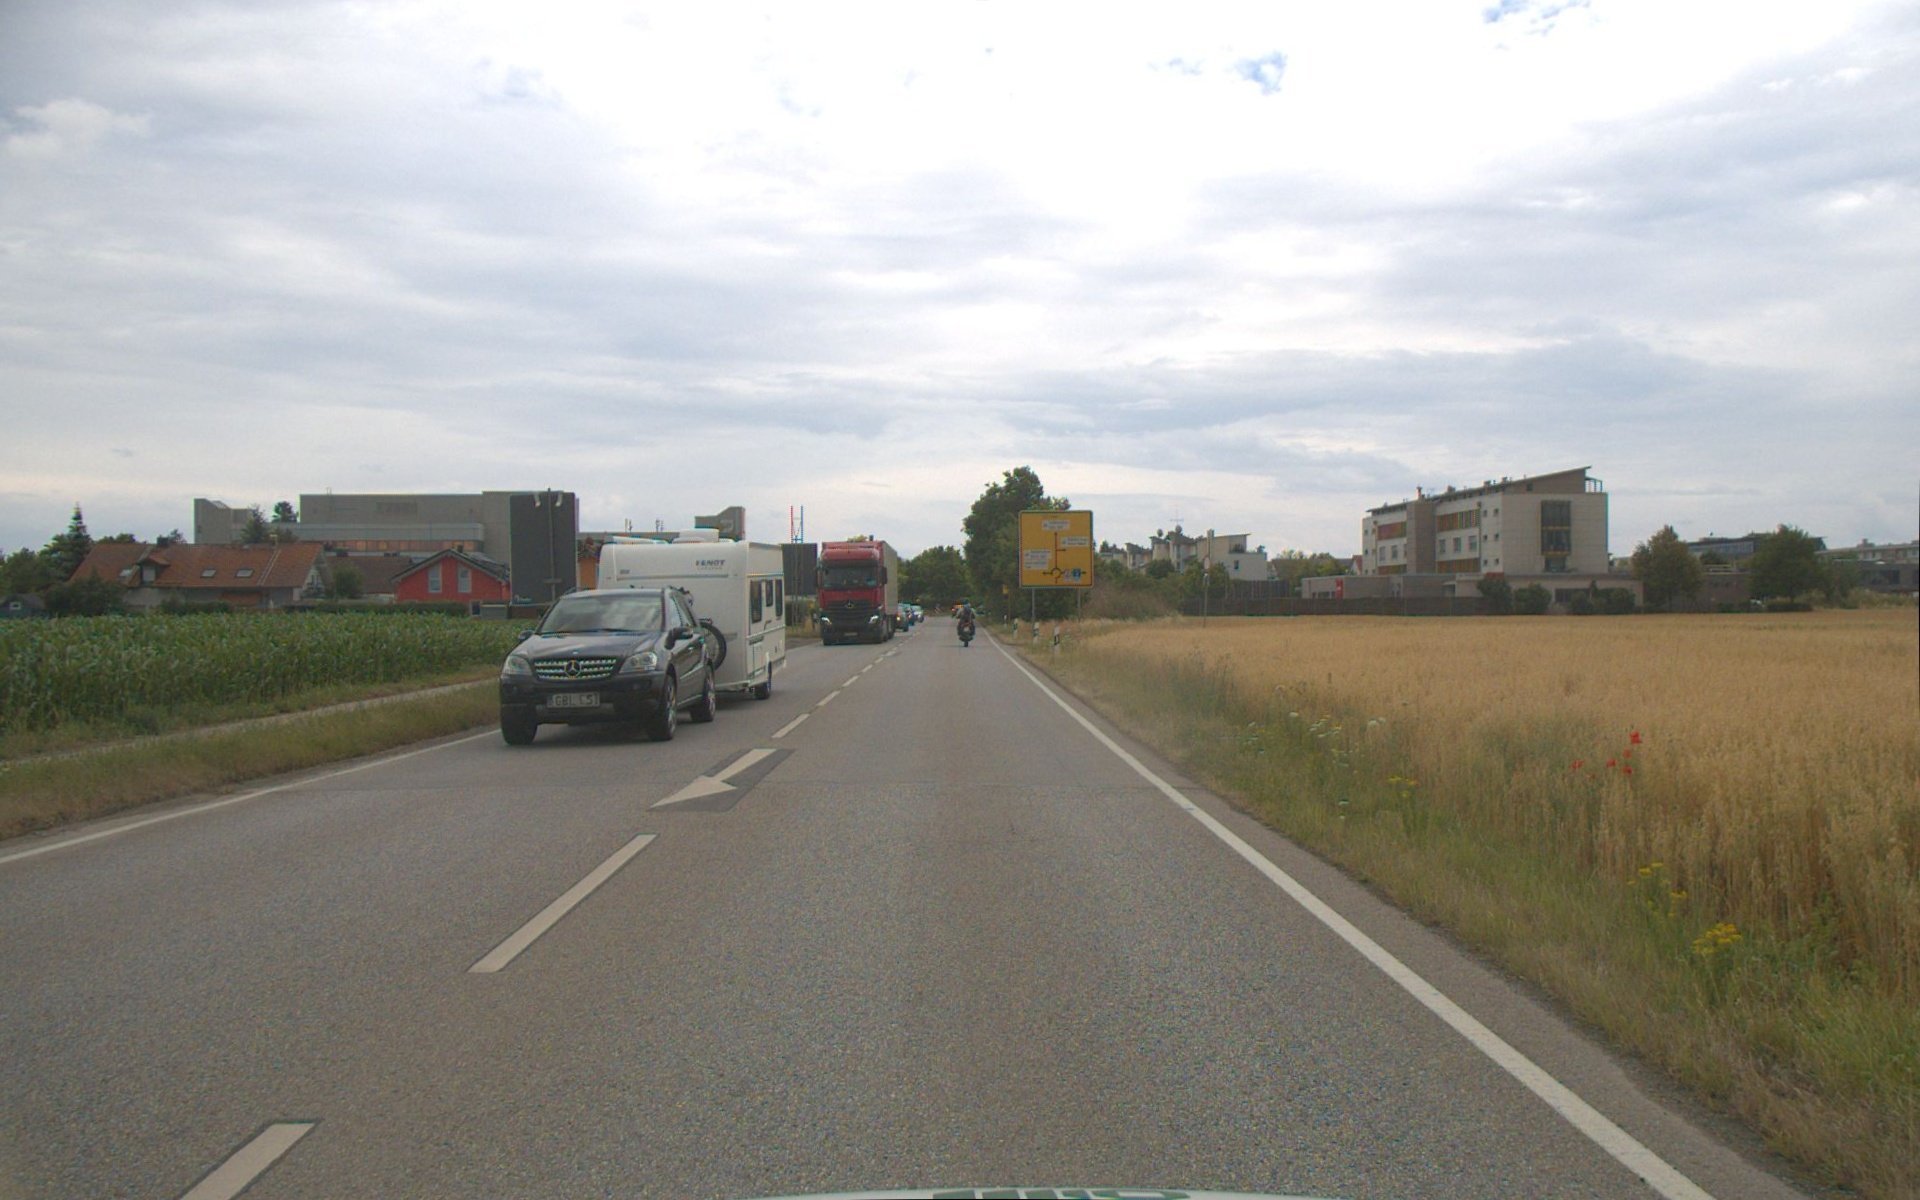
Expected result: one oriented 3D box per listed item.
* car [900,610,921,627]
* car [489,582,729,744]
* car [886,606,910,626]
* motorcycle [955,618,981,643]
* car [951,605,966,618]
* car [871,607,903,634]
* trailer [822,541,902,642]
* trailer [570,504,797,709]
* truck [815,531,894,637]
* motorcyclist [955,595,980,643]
[{"bbox_3d":[-4.419,1.677,147.421,1.817,1.498,3.998,0,-1,-2],"label":"car"},{"bbox_3d":[-4.106,0.690,20.173,1.953,1.729,4.675,-1,0,-1],"label":"car"},{"bbox_3d":[-4.685,1.190,125.675,1.817,1.498,3.998,0,-1,-2],"label":"car"},{"bbox_3d":[0.289,1.144,61.799,0.922,0.905,2.145,0,-1,0],"label":"motorcycle"},{"bbox_3d":[-0.209,1.397,199.285,1.817,1.498,3.999,0,-1,0],"label":"car"},{"bbox_3d":[-4.228,1.170,95.909,1.817,1.498,3.998,0,-1,-2],"label":"car"},{"bbox_3d":[-4.194,-0.301,73.601,2.673,4.015,13.780,-1,0,0],"label":"trailer"},{"bbox_3d":[-4.156,0.109,26.478,2.276,2.777,7.842,-1,0,0],"label":"trailer"},{"bbox_3d":[-4.218,-0.581,67.434,2.673,4.057,6.815,-1,-1,0],"label":"truck"},{"bbox_3d":[0.284,0.702,61.857,0.922,1.780,1.200,0,-1,-1],"label":"motorcyclist"}]
